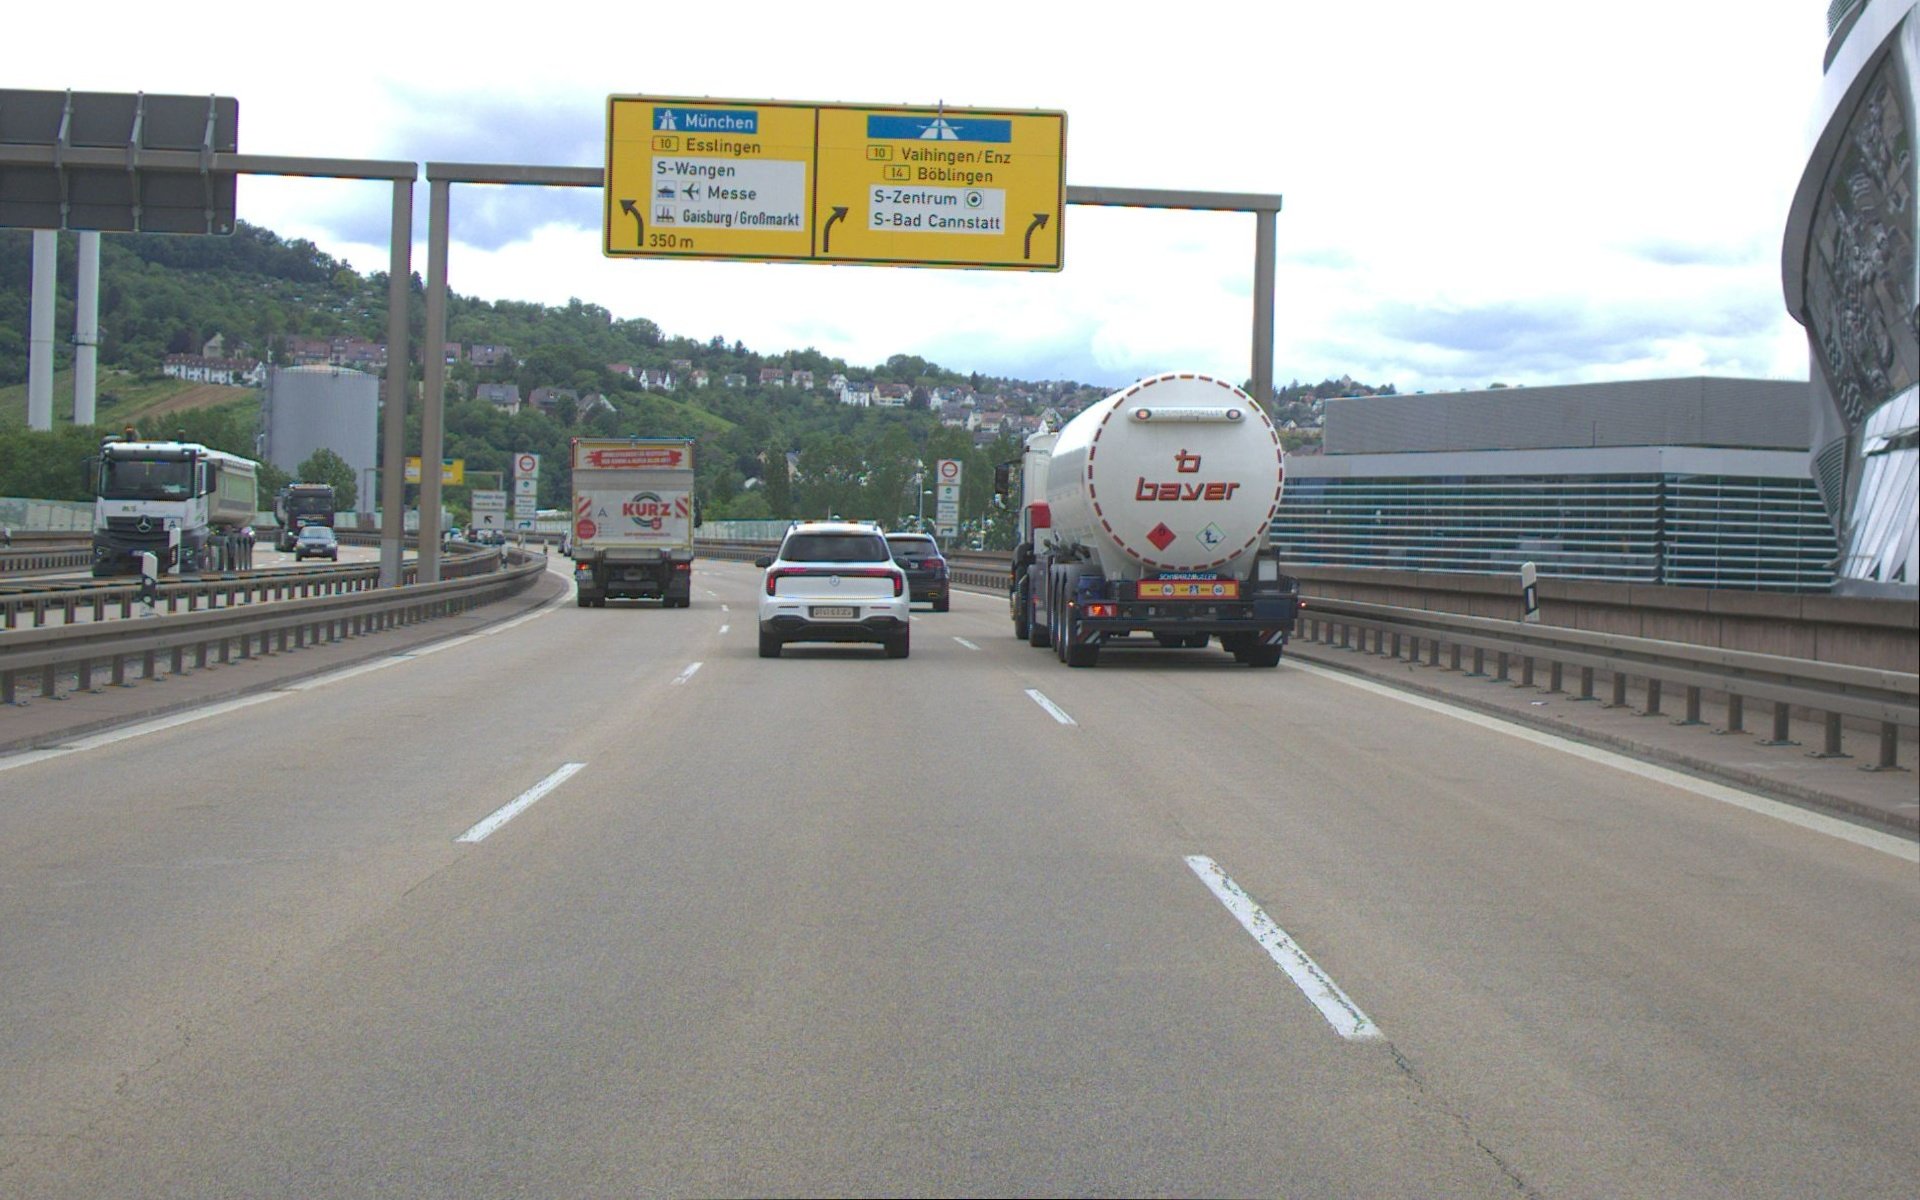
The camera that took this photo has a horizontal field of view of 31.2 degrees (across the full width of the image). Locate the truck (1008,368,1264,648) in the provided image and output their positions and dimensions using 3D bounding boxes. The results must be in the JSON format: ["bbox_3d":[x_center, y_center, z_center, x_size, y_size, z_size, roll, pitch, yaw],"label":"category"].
[{"bbox_3d":[2.355,-1.237,48.260,3.014,3.644,6.274,1,0,-2],"label":"truck"}]

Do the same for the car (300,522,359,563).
[{"bbox_3d":[-26.228,-2.369,143.116,1.993,1.669,4.409,0,0,-5],"label":"car"}]

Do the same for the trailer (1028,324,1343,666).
[{"bbox_3d":[2.592,-1.214,42.392,3.057,3.777,8.304,1,1,-2],"label":"trailer"}]

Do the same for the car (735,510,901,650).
[{"bbox_3d":[-1.781,-0.258,43.778,1.993,1.669,4.408,1,0,-2],"label":"car"}]

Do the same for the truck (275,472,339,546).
[{"bbox_3d":[-35.156,-4.859,185.309,2.810,3.796,12.023,0,1,-8],"label":"truck"}]

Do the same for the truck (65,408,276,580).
[{"bbox_3d":[-18.724,-2.415,82.377,3.056,3.763,12.520,0,1,-4],"label":"truck"}]

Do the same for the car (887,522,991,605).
[{"bbox_3d":[-0.471,-0.764,72.292,1.993,1.669,4.409,1,0,-3],"label":"car"}]

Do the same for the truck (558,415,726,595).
[{"bbox_3d":[-6.851,-2.003,75.161,3.057,3.678,8.304,1,1,-1],"label":"truck"}]

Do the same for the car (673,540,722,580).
[{"bbox_3d":[-11.105,-1.691,145.587,1.683,1.644,4.360,2,1,0],"label":"car"}]
